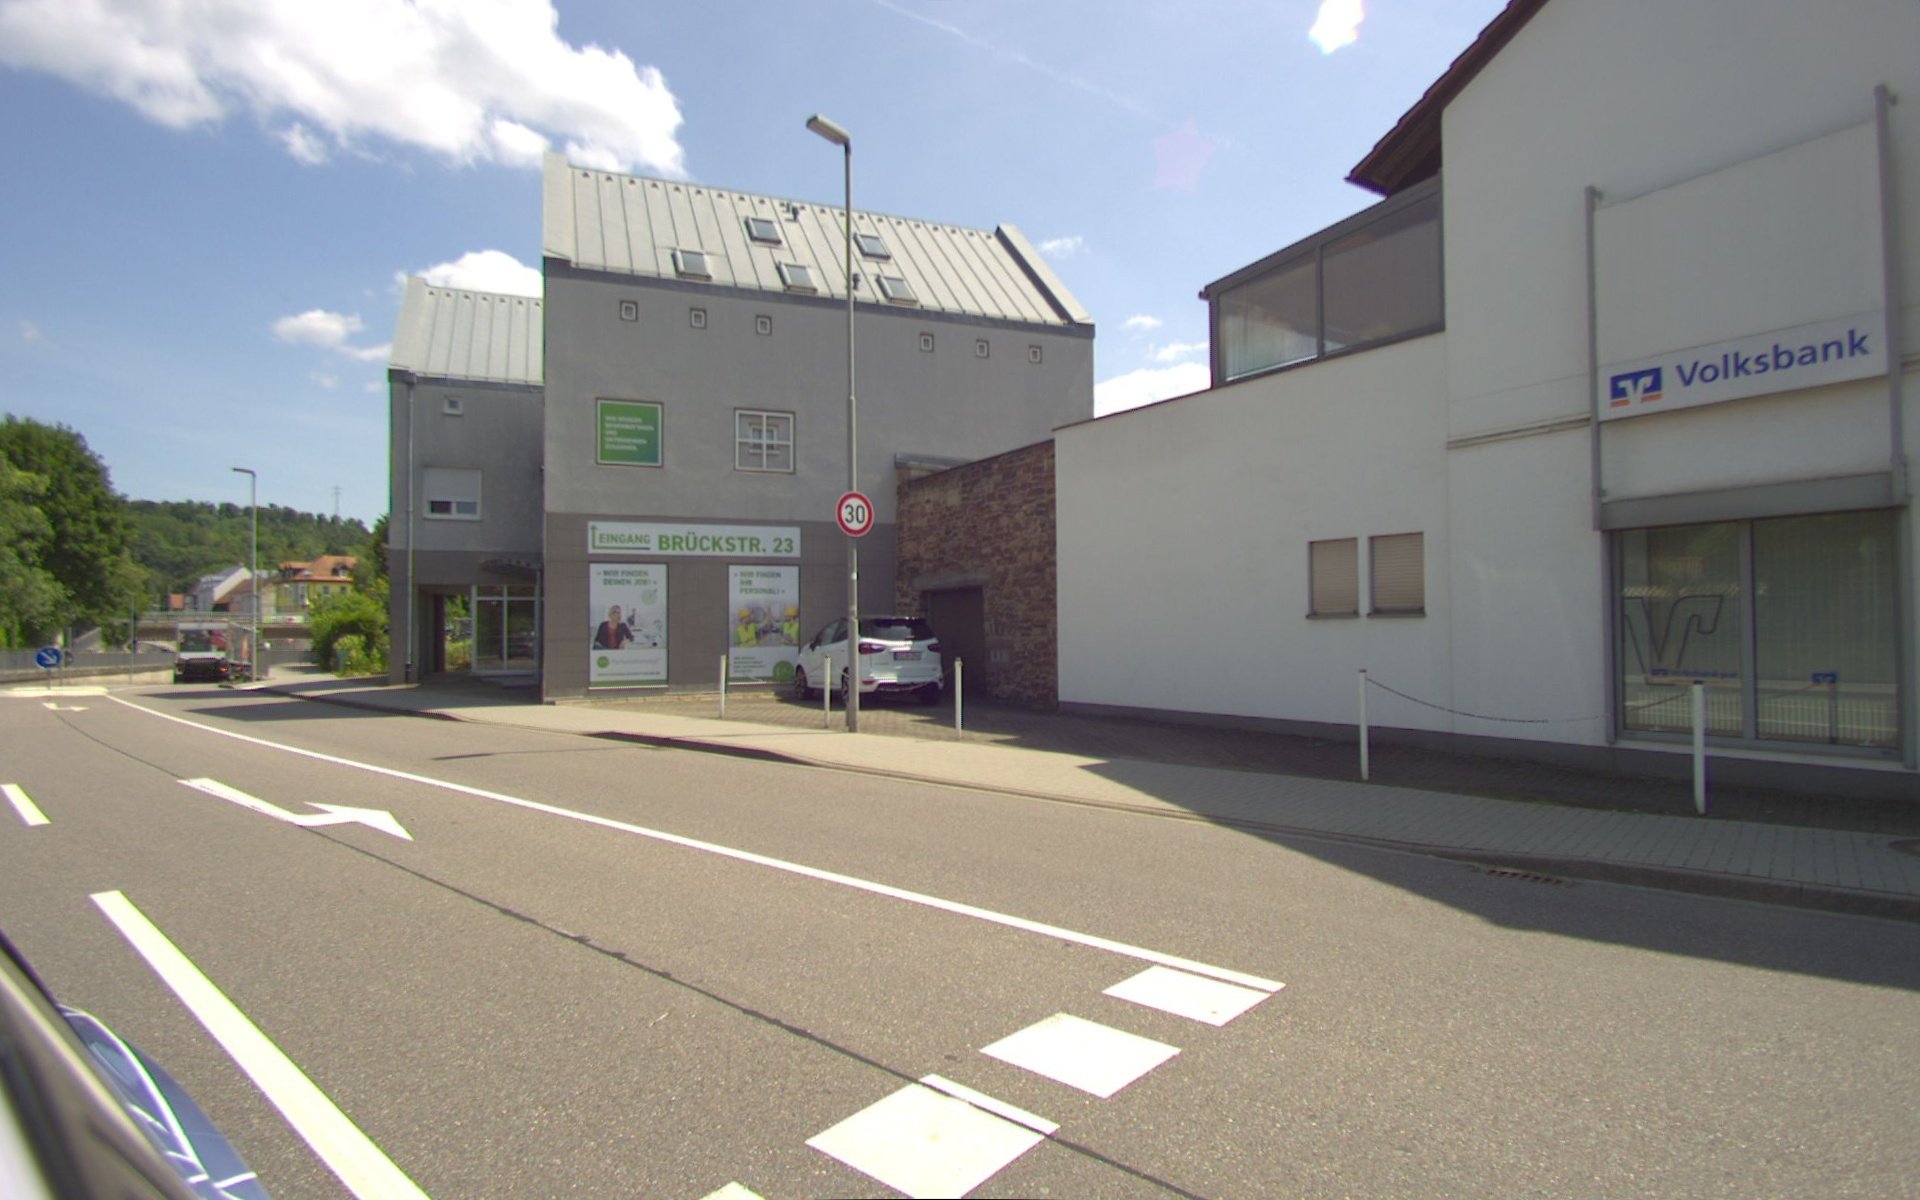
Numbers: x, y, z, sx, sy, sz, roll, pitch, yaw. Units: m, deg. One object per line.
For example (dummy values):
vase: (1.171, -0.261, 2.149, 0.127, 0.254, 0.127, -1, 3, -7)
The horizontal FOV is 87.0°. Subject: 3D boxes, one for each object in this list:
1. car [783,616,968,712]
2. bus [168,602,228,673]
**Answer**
car: (-1.727, 1.168, 19.079, 1.965, 1.587, 4.266, 1, -3, -28)
bus: (-48.402, 2.520, 64.501, 2.773, 4.033, 10.991, 1, -4, -36)
